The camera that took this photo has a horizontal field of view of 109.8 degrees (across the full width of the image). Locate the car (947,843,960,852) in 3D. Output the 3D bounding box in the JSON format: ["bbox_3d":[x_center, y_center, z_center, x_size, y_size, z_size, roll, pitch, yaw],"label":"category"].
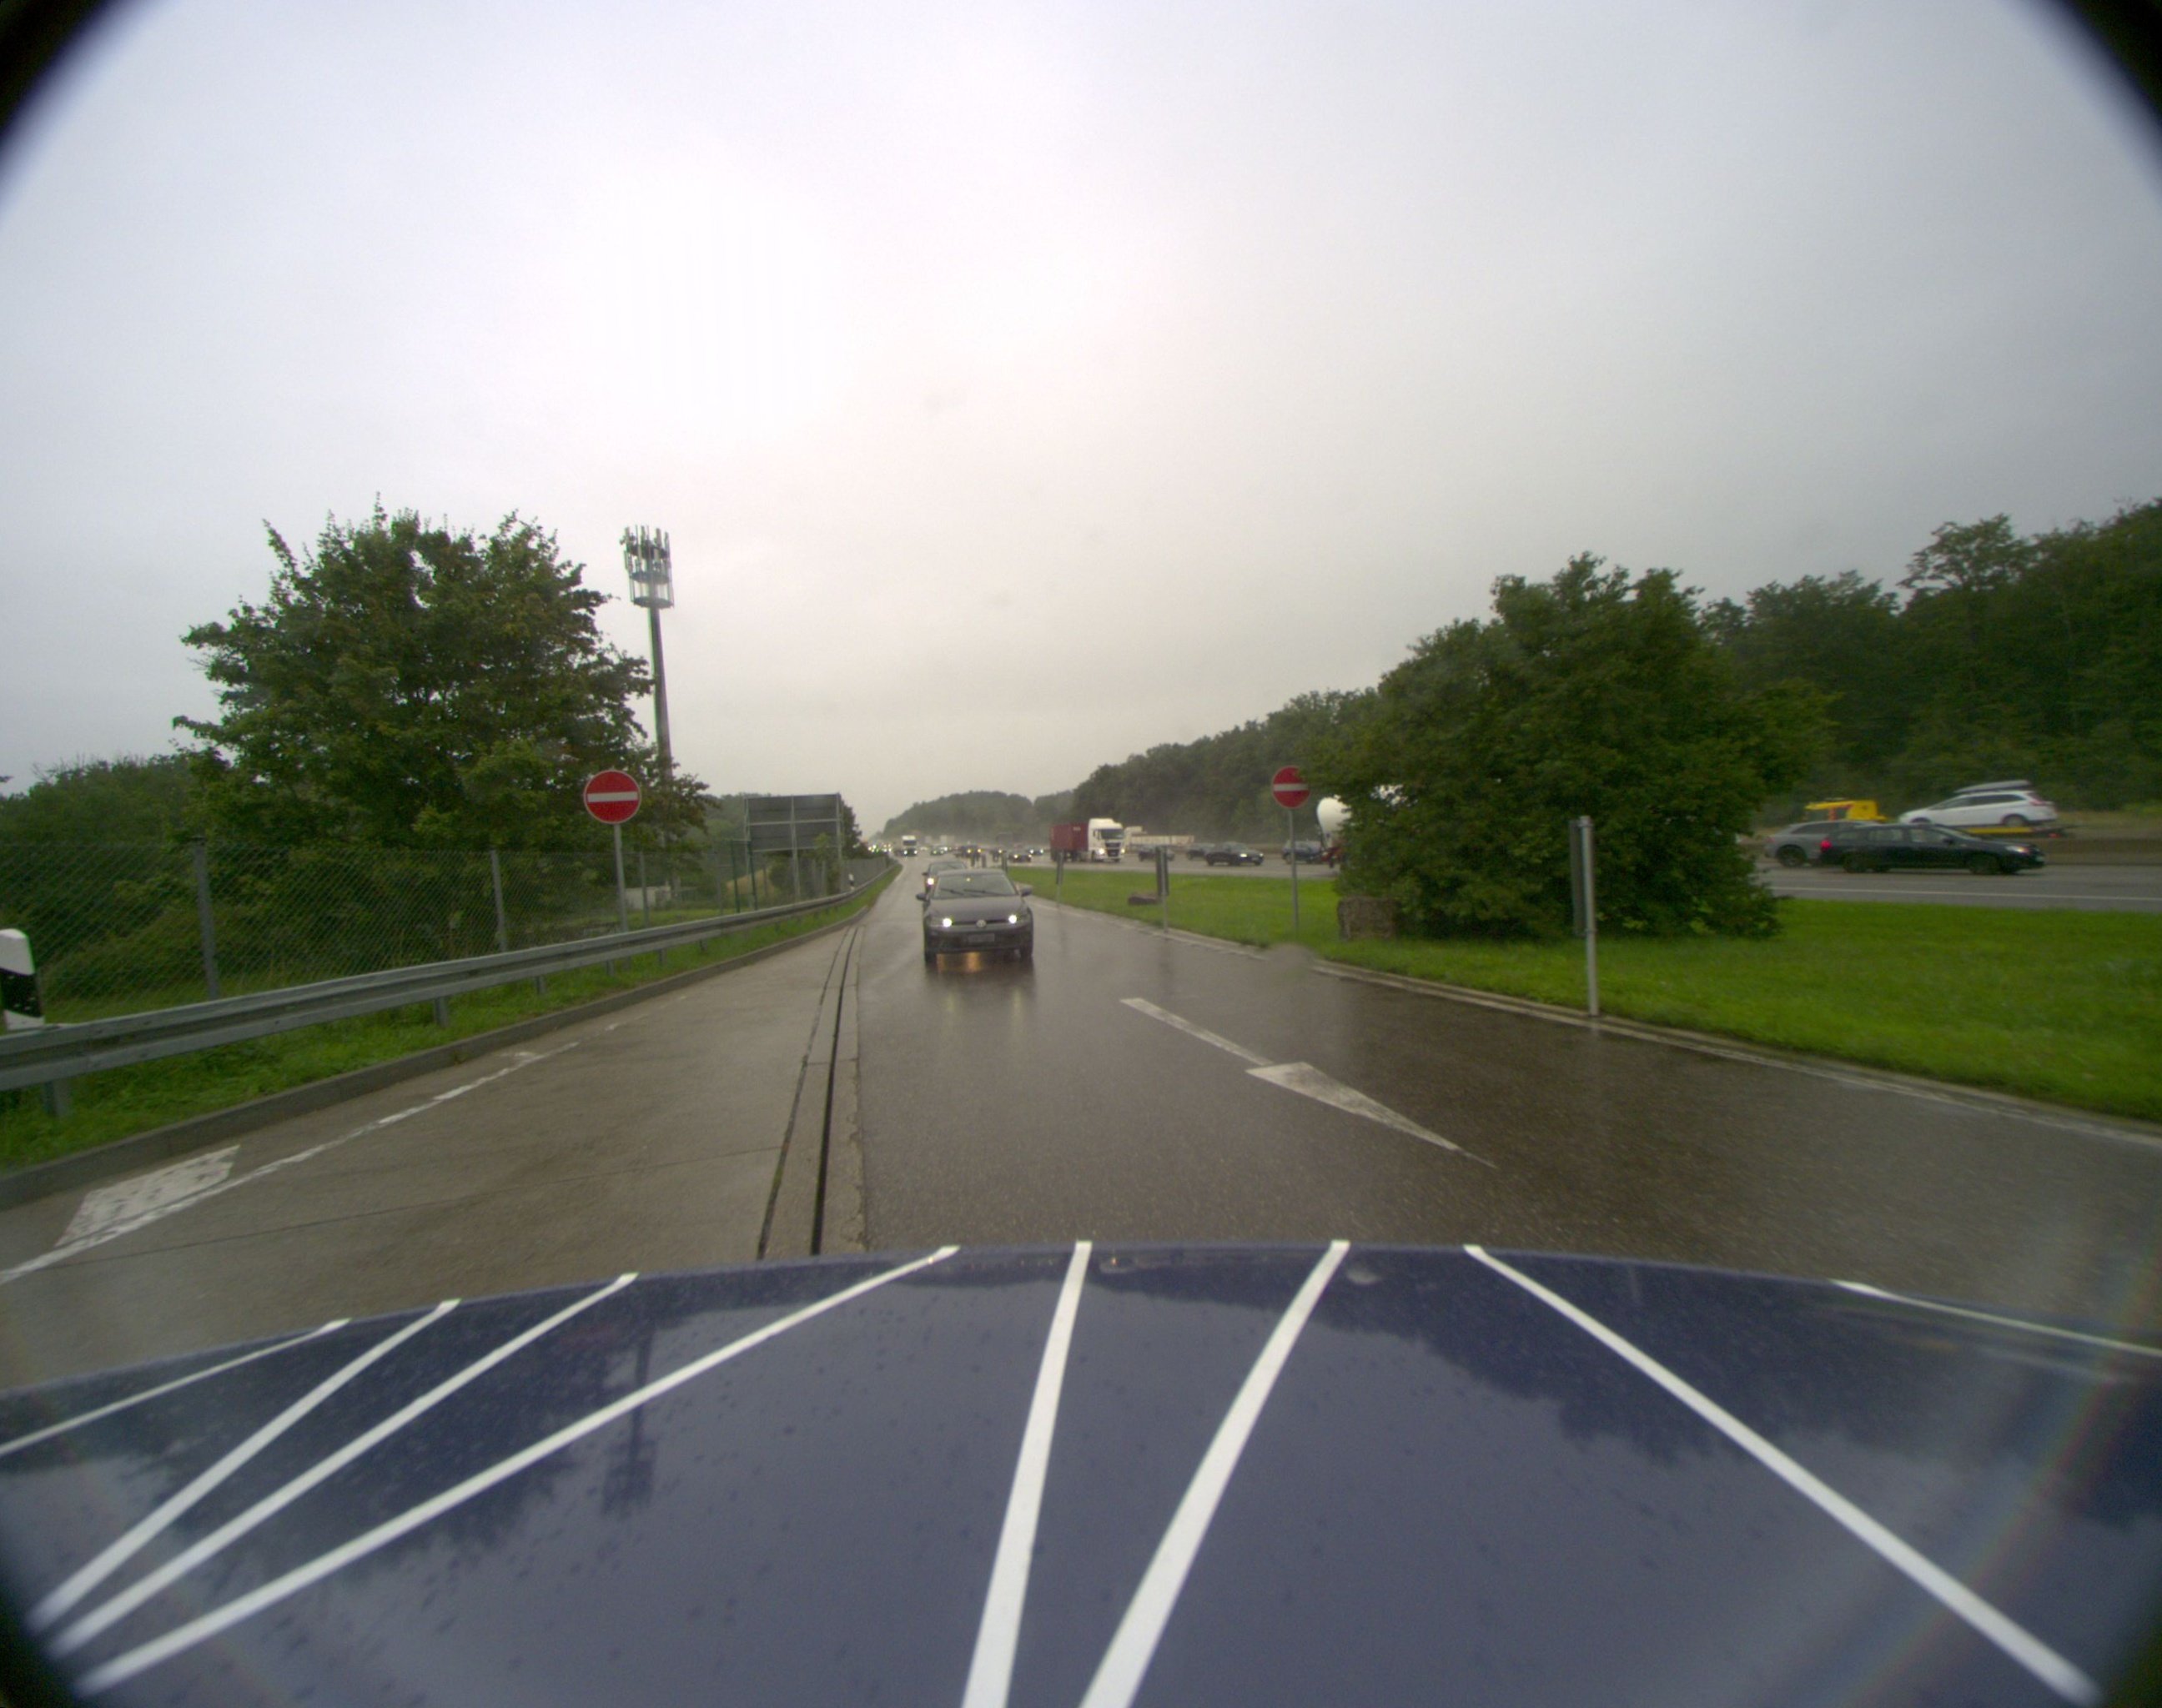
[{"bbox_3d":[-28.001,-1.460,166.703,2.002,1.802,3.993,-2,0,-22],"label":"car"}]

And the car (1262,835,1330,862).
[{"bbox_3d":[14.094,-0.321,49.994,1.826,1.658,4.396,-2,0,-25],"label":"car"}]

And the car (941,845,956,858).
[{"bbox_3d":[-24.517,-0.466,140.597,1.919,2.004,3.992,-9,5,-18],"label":"car"}]

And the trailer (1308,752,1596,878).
[{"bbox_3d":[13.635,-1.261,29.689,2.774,4.003,11.020,-2,1,-22],"label":"trailer"}]

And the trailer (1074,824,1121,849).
[{"bbox_3d":[2.831,-3.022,137.062,2.735,3.519,14.036,-8,1,-23],"label":"trailer"}]

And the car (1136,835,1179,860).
[{"bbox_3d":[6.708,-0.589,66.925,2.002,2.002,4.104,-4,2,-22],"label":"car"}]

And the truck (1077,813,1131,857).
[{"bbox_3d":[2.023,-1.676,69.099,2.700,3.637,5.315,-6,3,-21],"label":"truck"}]

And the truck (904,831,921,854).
[{"bbox_3d":[-32.131,-2.229,144.984,2.599,4.122,5.223,-6,2,-15],"label":"truck"}]

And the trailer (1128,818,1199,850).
[{"bbox_3d":[11.084,-2.631,105.108,2.625,3.660,14.646,-7,1,-23],"label":"trailer"}]

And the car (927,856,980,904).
[{"bbox_3d":[-5.245,0.975,30.845,1.812,1.533,3.995,-7,3,-11],"label":"car"}]

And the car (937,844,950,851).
[{"bbox_3d":[-28.746,-1.373,158.881,1.799,1.499,3.993,-2,0,-22],"label":"car"}]

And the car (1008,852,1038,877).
[{"bbox_3d":[-5.978,1.027,77.583,1.919,2.004,3.992,-9,5,-18],"label":"car"}]

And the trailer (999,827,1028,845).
[{"bbox_3d":[-16.837,-4.378,188.807,3.040,3.790,13.384,-5,2,-22],"label":"trailer"}]

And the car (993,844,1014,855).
[{"bbox_3d":[-11.536,-0.638,112.873,1.791,1.550,4.091,-3,0,-25],"label":"car"}]

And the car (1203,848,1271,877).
[{"bbox_3d":[10.093,0.548,49.528,2.001,1.569,4.494,-8,2,-22],"label":"car"}]

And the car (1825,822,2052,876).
[{"bbox_3d":[25.410,-0.145,22.717,1.826,1.406,4.116,-3,1,-22],"label":"car"}]

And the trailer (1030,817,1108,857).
[{"bbox_3d":[-1.538,-1.691,78.345,2.694,3.486,15.096,-6,3,-21],"label":"trailer"}]

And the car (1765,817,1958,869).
[{"bbox_3d":[27.456,-0.392,26.932,1.826,1.659,4.396,-2,1,-22],"label":"car"}]

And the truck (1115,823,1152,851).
[{"bbox_3d":[7.767,-2.465,112.890,2.633,3.649,5.981,-7,2,-23],"label":"truck"}]

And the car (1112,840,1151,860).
[{"bbox_3d":[5.785,-0.497,87.898,2.001,2.003,5.568,-8,4,-24],"label":"car"}]

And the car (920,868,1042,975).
[{"bbox_3d":[-1.912,1.029,13.373,1.672,1.394,4.256,-3,1,-13],"label":"car"}]

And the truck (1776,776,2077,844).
[{"bbox_3d":[39.154,-1.875,35.864,2.110,2.445,9.299,1,-2,-24],"label":"truck"}]
